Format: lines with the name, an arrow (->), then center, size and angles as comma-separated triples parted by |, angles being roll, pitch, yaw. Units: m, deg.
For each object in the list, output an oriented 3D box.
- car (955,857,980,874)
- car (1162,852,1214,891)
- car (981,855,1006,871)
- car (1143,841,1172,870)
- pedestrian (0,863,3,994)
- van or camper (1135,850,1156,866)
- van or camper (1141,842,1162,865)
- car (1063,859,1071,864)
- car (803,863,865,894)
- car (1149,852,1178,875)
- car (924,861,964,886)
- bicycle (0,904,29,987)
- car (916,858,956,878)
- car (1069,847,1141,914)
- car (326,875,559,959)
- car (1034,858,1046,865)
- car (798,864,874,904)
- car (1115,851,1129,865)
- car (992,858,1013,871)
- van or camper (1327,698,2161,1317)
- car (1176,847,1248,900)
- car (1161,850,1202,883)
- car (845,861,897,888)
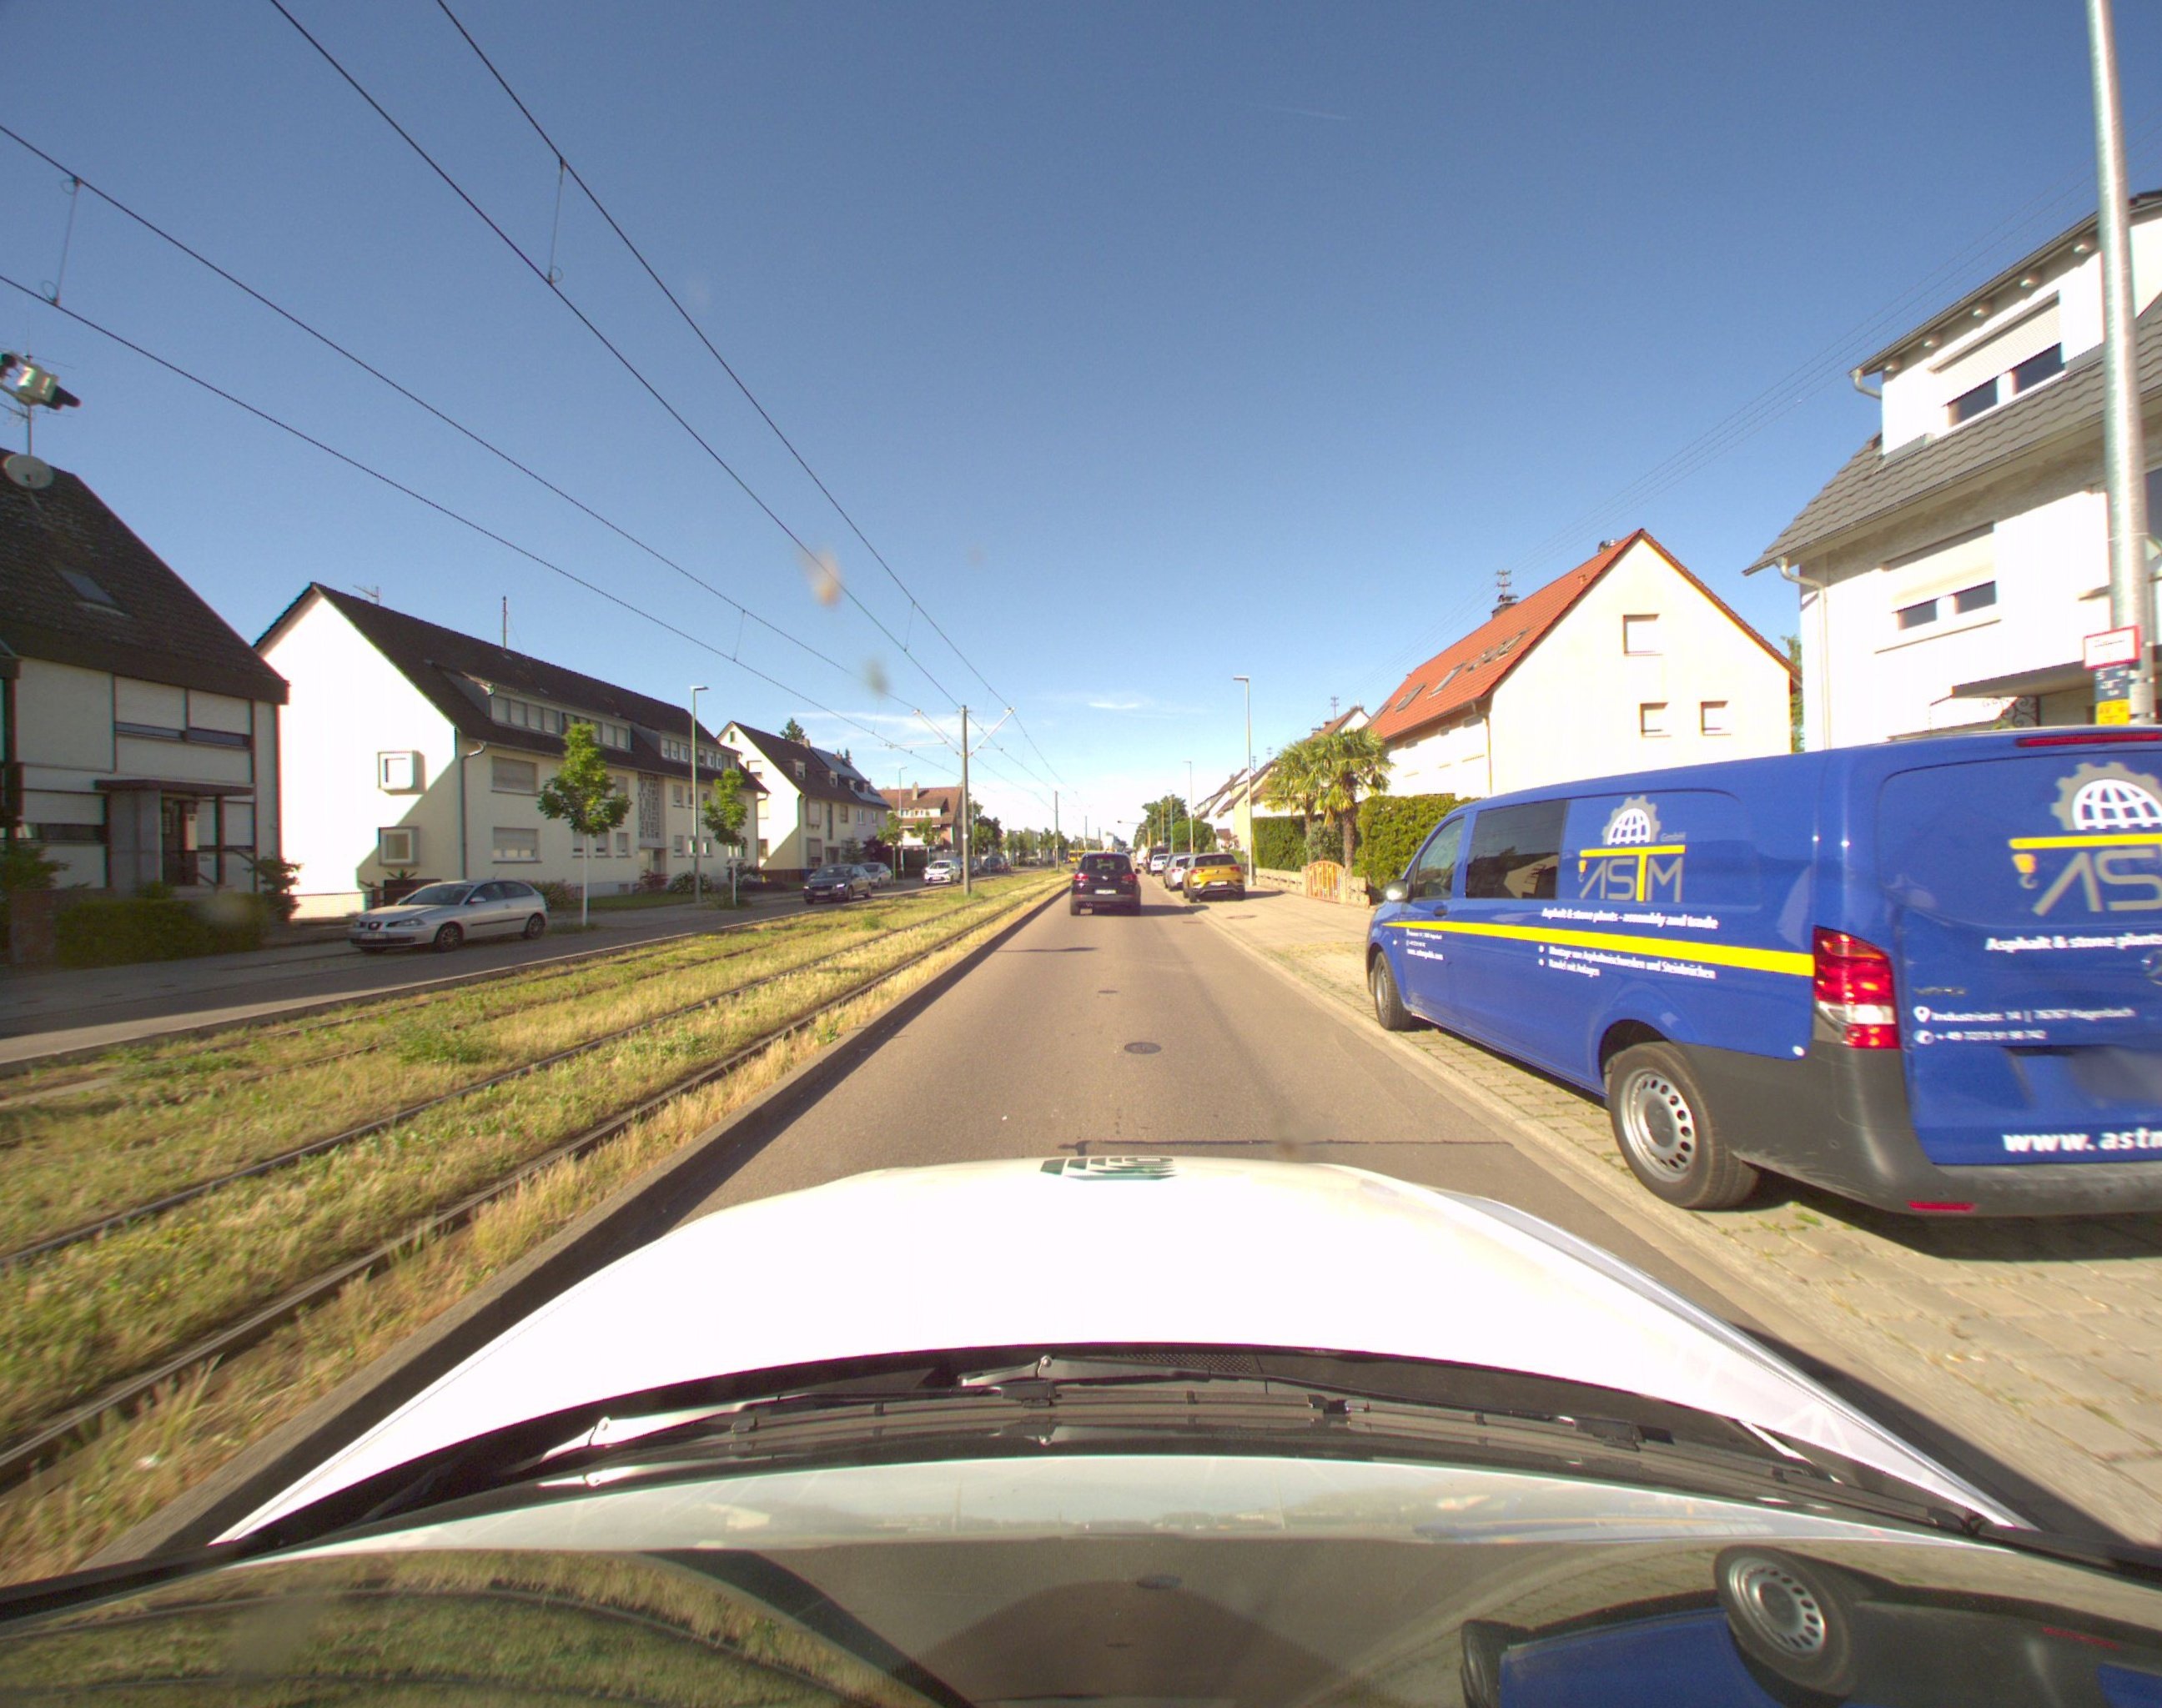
car -> -10.382, 1.038, 74.881 | 1.670, 1.491, 4.051 | 0, 0, 1
car -> 4.504, 0.686, 34.919 | 1.741, 1.447, 4.701 | -2, 1, 2
car -> -9.403, 0.971, 87.843 | 1.811, 1.684, 4.851 | 0, 0, 4
car -> 6.006, 0.120, 64.273 | 1.951, 2.144, 5.340 | -2, -1, 3
pedestrian -> -15.246, 1.033, 10.925 | 0.614, 1.815, 0.677 | 0, -1, -7
van or camper -> 8.571, 0.472, 107.472 | 2.015, 1.956, 5.311 | -2, 0, 11
van or camper -> 7.517, -0.060, 86.767 | 1.985, 2.271, 6.310 | -3, -1, 4
car -> -3.987, 2.193, 237.179 | 1.680, 1.389, 4.394 | -3, -1, 5
car -> -12.229, 1.180, 40.644 | 1.682, 1.473, 4.316 | 0, -1, 1
car -> 5.788, 0.610, 57.433 | 1.844, 1.443, 5.620 | -3, 0, 4
car -> -8.340, 1.160, 49.756 | 1.682, 1.475, 3.681 | -1, -1, 1
bicycle -> -15.643, 1.302, 10.923 | 0.474, 1.163, 1.875 | 0, -1, 8
car -> -11.125, 1.056, 62.784 | 1.952, 1.540, 4.560 | 0, -1, 3
car -> 0.655, 0.684, 22.274 | 1.769, 1.670, 4.001 | 0, -1, 1
car -> -13.325, 1.240, 17.375 | 1.652, 1.436, 4.104 | -1, 0, 1
car -> -8.718, 1.557, 173.938 | 1.800, 1.461, 4.327 | 0, -1, 8
car -> -9.666, 1.146, 32.457 | 1.682, 1.475, 4.084 | 0, -1, 1
car -> 5.694, 0.499, 113.061 | 1.623, 1.828, 4.129 | -2, 0, -1
car -> -9.028, 1.174, 93.801 | 1.688, 1.405, 4.083 | -2, 0, 4
van or camper -> 3.386, 0.466, 5.280 | 1.942, 1.846, 5.584 | -2, 0, 1
car -> 4.322, 0.626, 27.528 | 1.798, 1.559, 4.929 | -2, 0, 2
car -> 4.948, 0.597, 40.576 | 1.769, 1.498, 4.733 | -2, 0, 4
car -> -11.944, 1.112, 46.640 | 1.682, 1.475, 4.444 | 0, -1, 1
